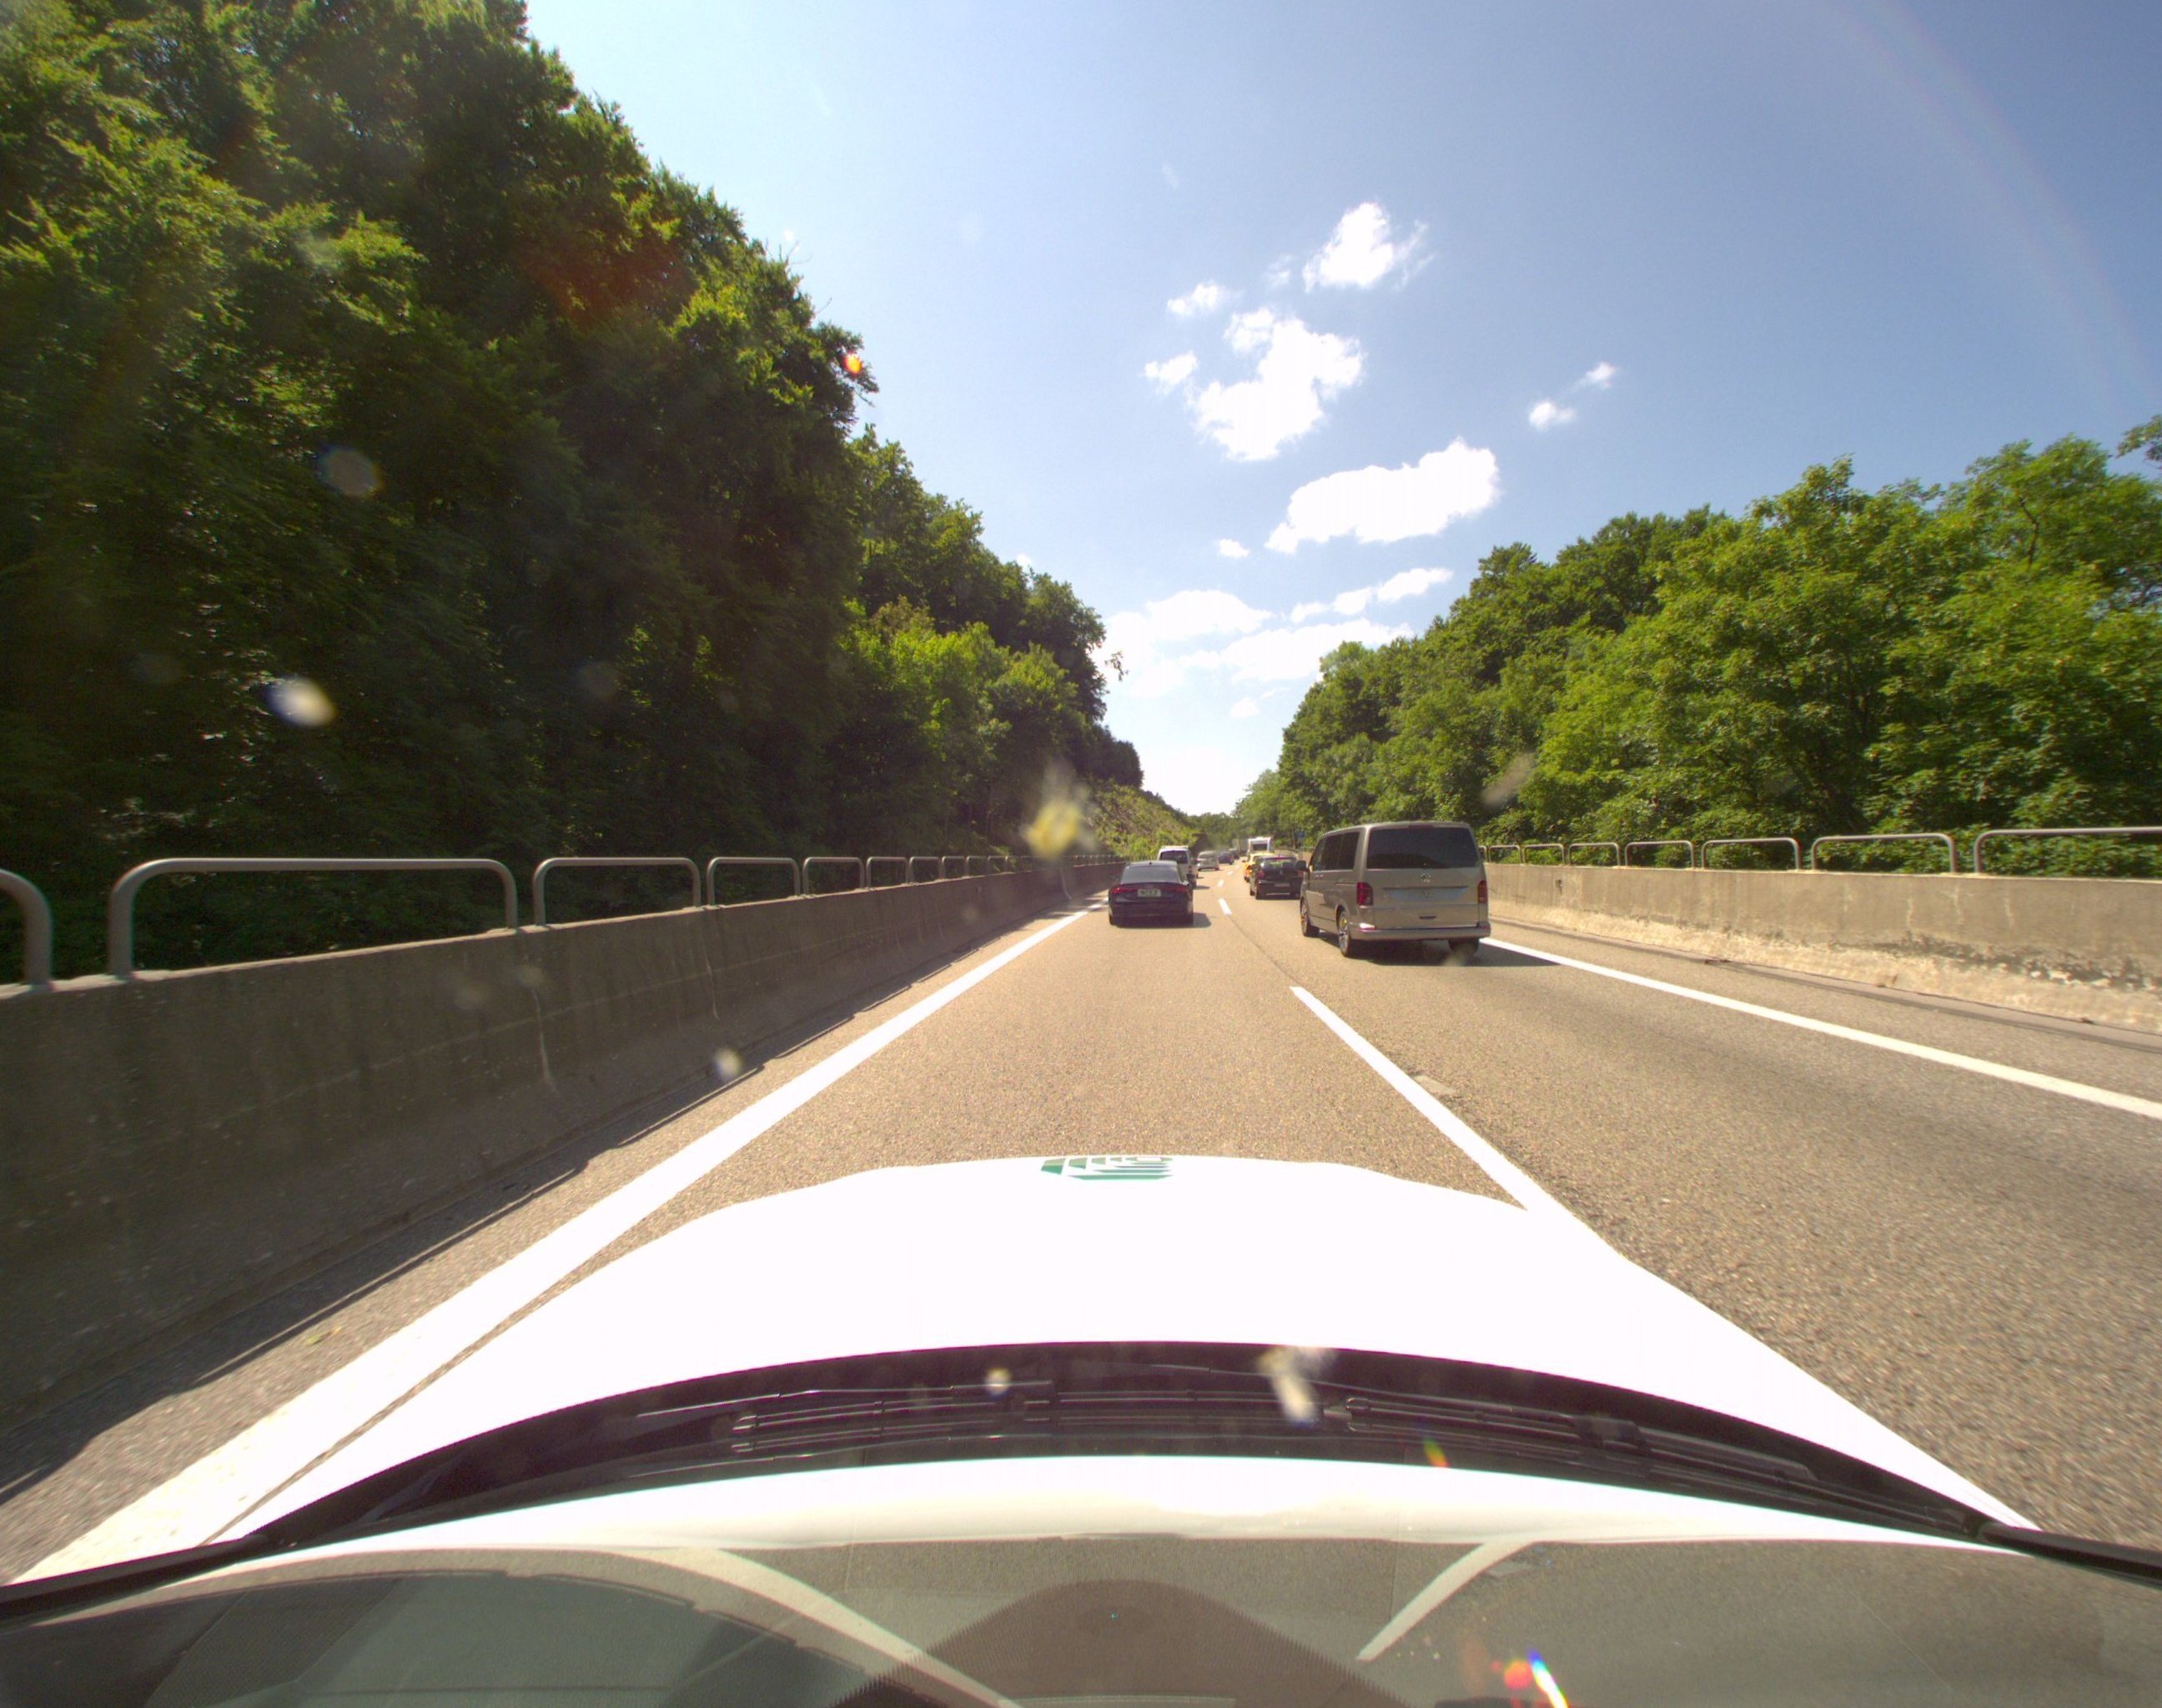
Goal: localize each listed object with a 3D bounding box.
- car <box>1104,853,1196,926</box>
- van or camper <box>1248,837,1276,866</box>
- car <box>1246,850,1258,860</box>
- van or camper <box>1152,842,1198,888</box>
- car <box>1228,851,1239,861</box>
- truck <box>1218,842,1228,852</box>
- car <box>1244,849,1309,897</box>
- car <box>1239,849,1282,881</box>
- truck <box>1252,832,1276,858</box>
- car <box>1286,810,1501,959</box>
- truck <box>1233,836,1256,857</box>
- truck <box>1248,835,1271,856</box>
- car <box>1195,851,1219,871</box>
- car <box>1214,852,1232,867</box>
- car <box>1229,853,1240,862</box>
[{"bbox_3d":[1.619,0.754,19.430,1.896,1.489,4.384,-2,0,4],"label":"car"},{"bbox_3d":[18.799,-0.249,84.455,2.585,2.855,6.358,-2,0,13],"label":"van or camper"},{"bbox_3d":[34.251,0.191,163.320,1.983,1.860,4.008,-2,0,7],"label":"car"},{"bbox_3d":[4.348,0.469,37.089,1.842,1.942,4.175,-2,0,9],"label":"van or camper"},{"bbox_3d":[25.346,0.386,135.064,1.739,1.571,3.783,-2,0,11],"label":"car"},{"bbox_3d":[31.147,-1.486,178.740,1.984,2.013,4.006,-2,0,5],"label":"truck"},{"bbox_3d":[6.633,0.618,28.030,1.676,1.458,4.007,-2,0,7],"label":"car"},{"bbox_3d":[9.125,0.543,41.582,1.798,1.478,4.091,-2,0,8],"label":"car"},{"bbox_3d":[27.208,-1.323,121.173,2.908,3.687,7.743,-1,0,9],"label":"truck"},{"bbox_3d":[4.764,0.421,13.238,1.932,1.931,4.699,-2,0,4],"label":"car"},{"bbox_3d":[36.374,-1.685,181.668,3.696,4.504,7.728,-1,0,2],"label":"truck"},{"bbox_3d":[31.441,-1.474,143.475,3.146,3.468,8.237,-2,0,7],"label":"truck"},{"bbox_3d":[10.528,0.600,68.246,1.884,1.584,3.779,-1,0,8],"label":"car"},{"bbox_3d":[15.740,0.639,90.071,1.739,1.571,3.783,-2,0,12],"label":"car"},{"bbox_3d":[28.152,0.556,149.242,1.741,1.571,3.779,-1,0,7],"label":"car"}]
